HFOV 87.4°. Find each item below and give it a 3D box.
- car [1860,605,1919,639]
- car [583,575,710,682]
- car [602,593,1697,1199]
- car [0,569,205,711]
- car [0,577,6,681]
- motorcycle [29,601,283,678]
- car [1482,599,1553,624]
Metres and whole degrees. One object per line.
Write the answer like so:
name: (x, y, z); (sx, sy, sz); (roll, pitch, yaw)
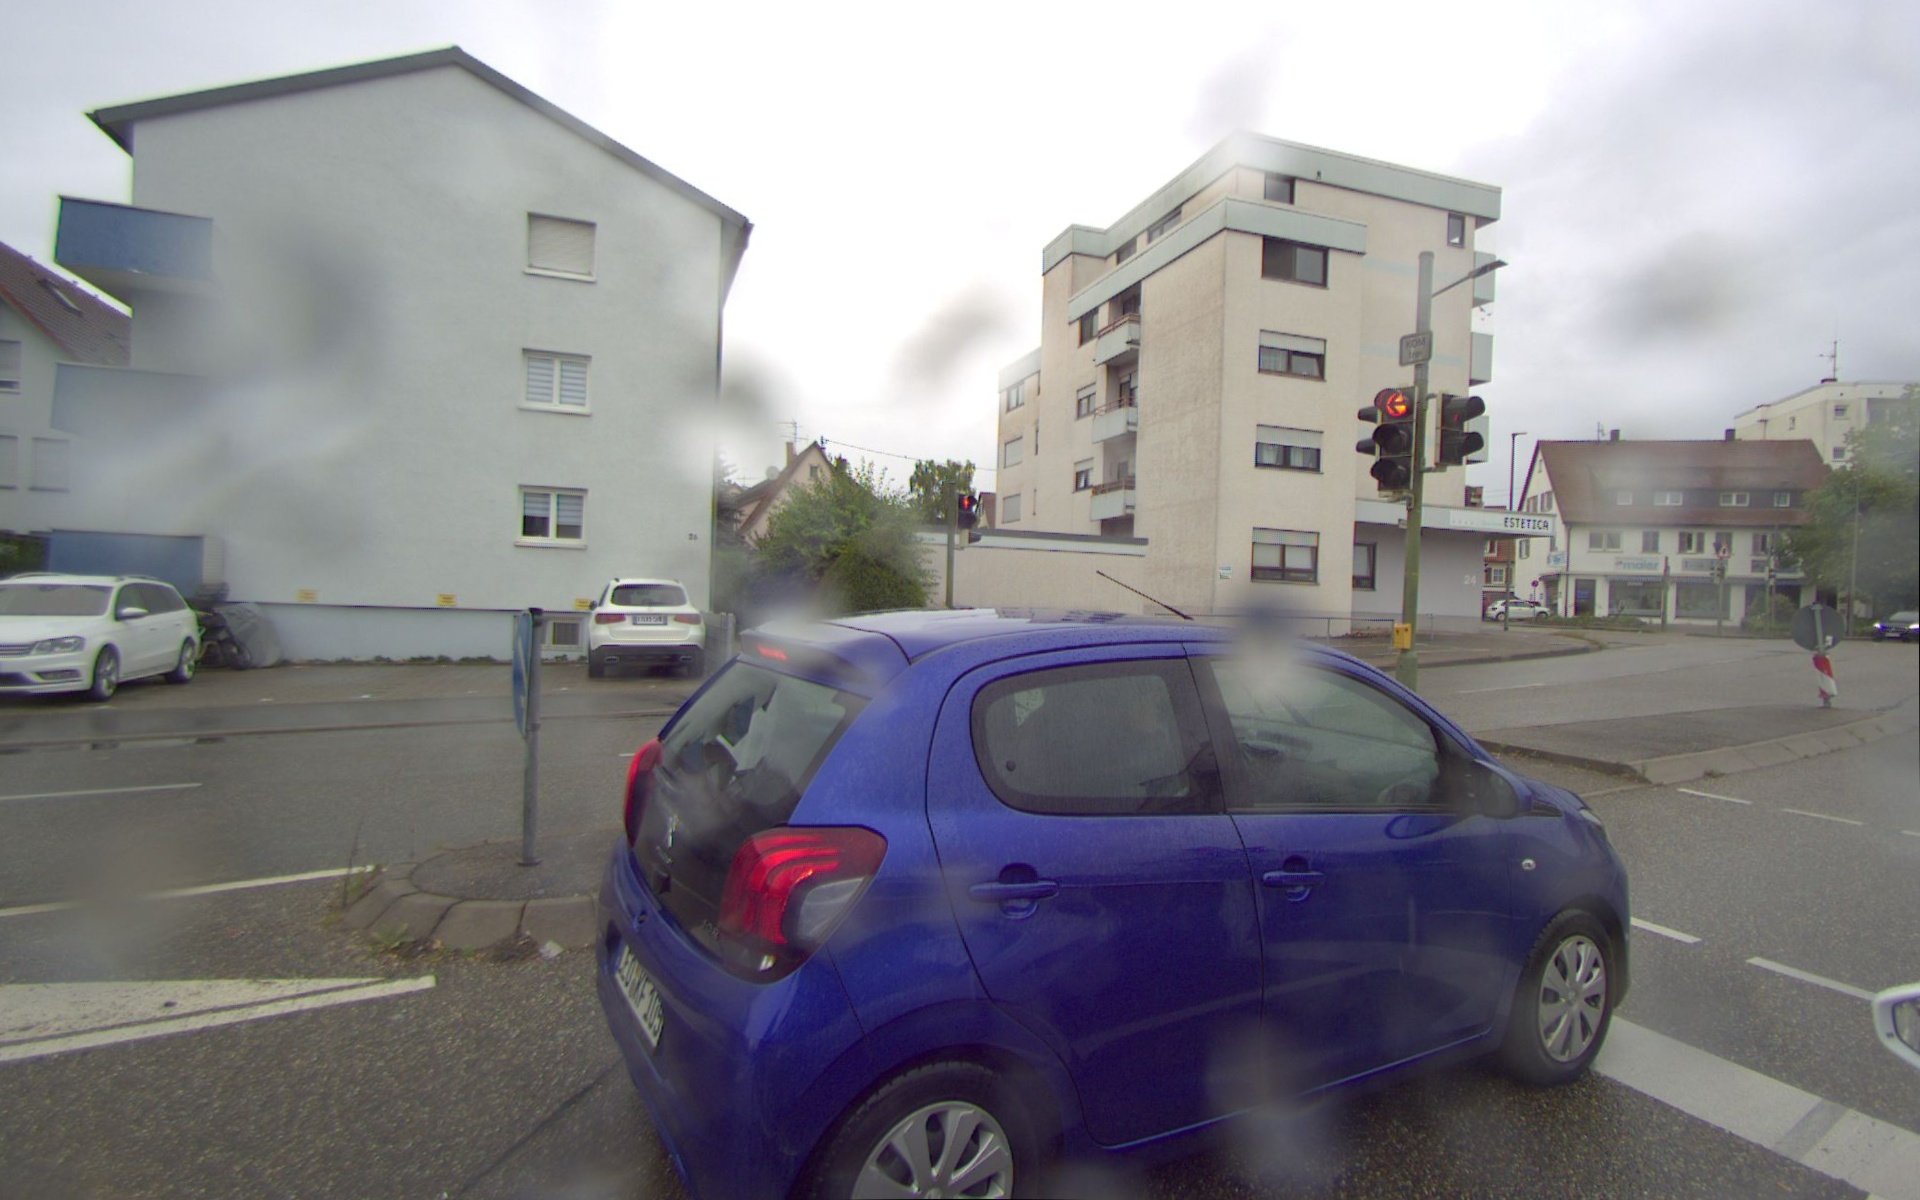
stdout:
car: (42.534, 0.969, 45.340); (3.785, 1.439, 1.770); (1, 1, -30)
car: (-5.657, 0.450, 17.970); (1.909, 1.658, 4.445); (1, 0, -19)
car: (0.673, 0.733, 3.249); (3.231, 1.429, 1.571); (1, 1, -30)
car: (-11.118, 0.412, 12.442); (1.878, 1.493, 4.208); (1, 0, -24)
car: (-13.332, 0.394, 11.752); (1.878, 1.430, 3.977); (1, 0, -24)
motorcycle: (-12.872, 0.594, 16.213); (0.864, 1.115, 3.113); (2, 1, 43)
car: (38.245, 0.787, 69.036); (3.887, 1.593, 1.873); (1, 1, 17)
